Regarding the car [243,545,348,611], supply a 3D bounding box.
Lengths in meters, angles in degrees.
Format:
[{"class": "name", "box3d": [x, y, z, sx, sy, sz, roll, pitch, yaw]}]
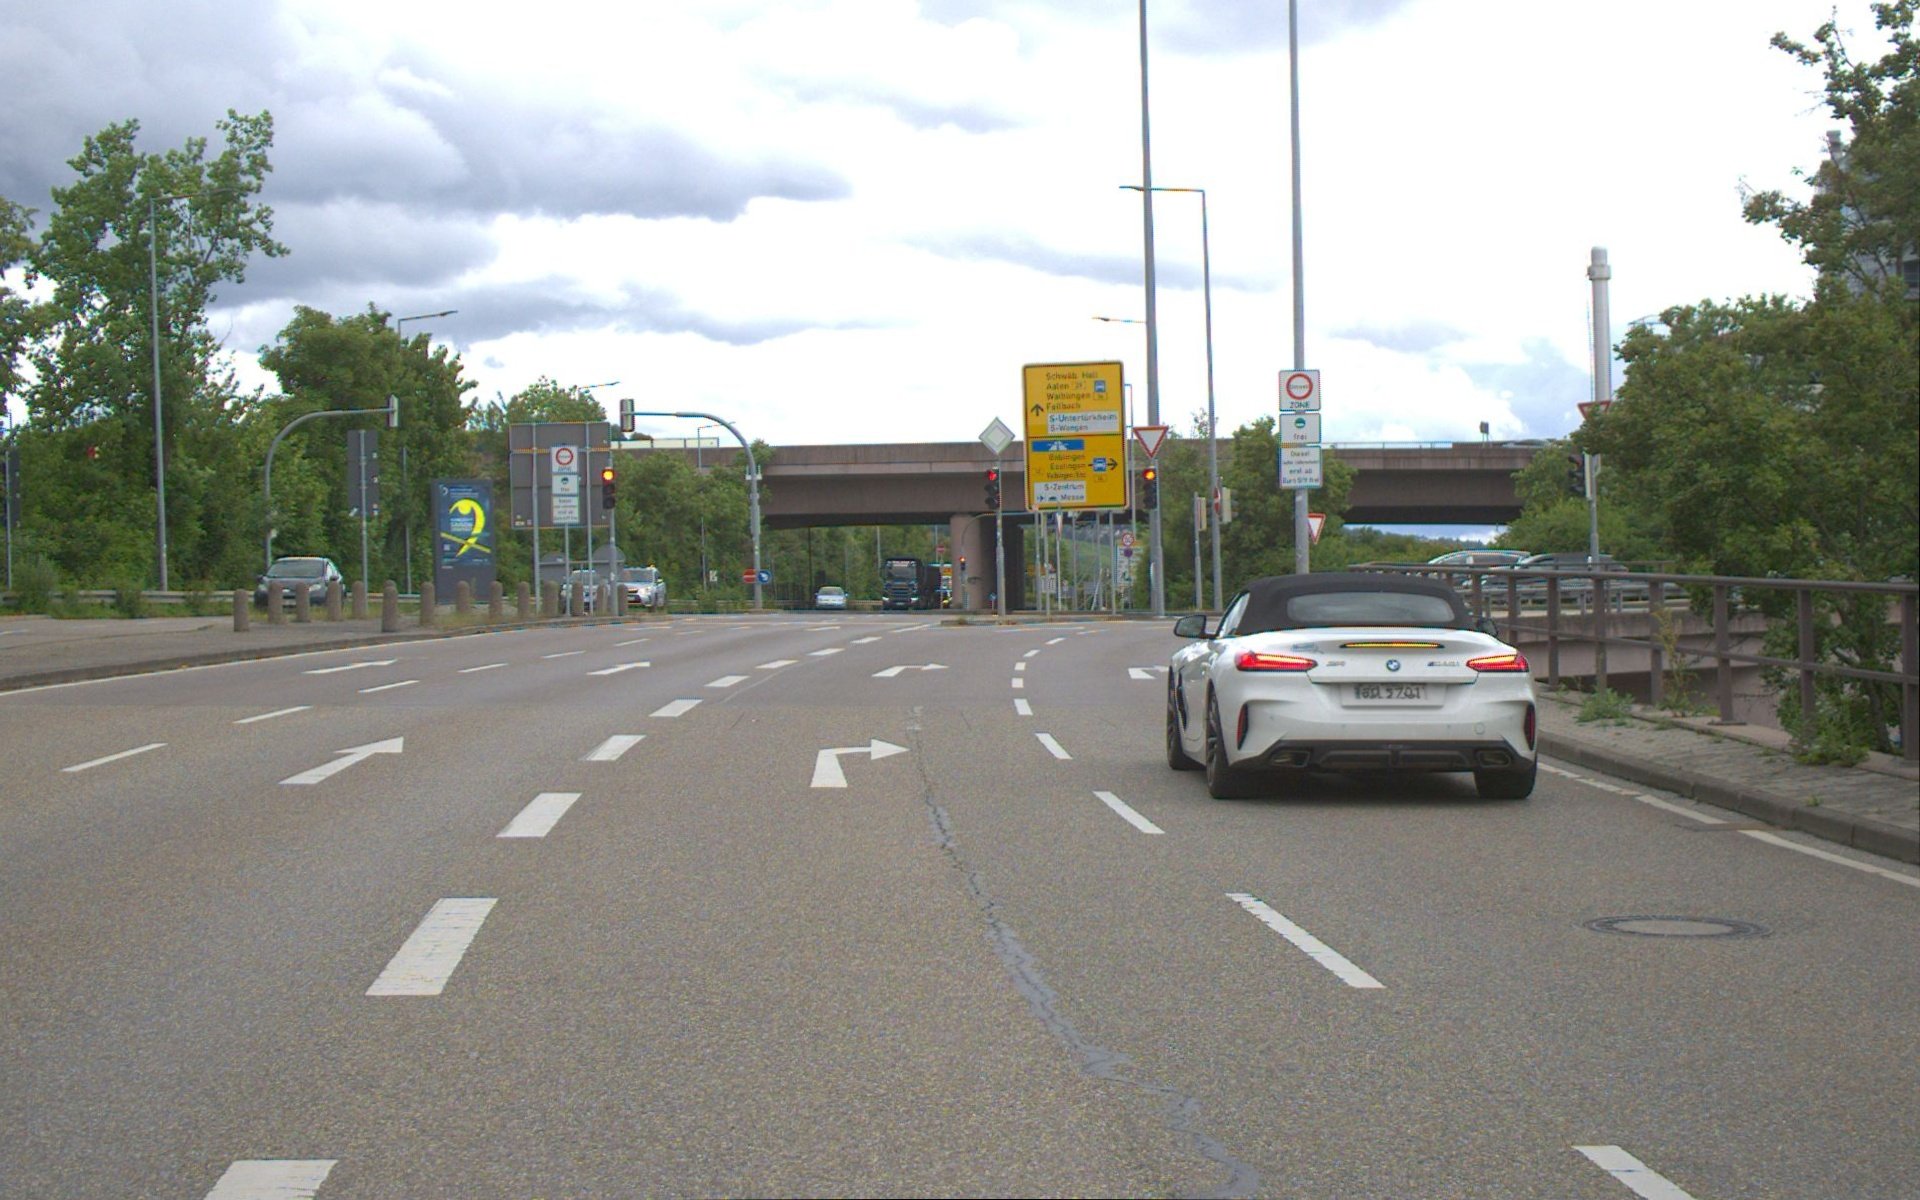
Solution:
[{"class": "car", "box3d": [-15.519, -0.525, 80.399, 1.760, 1.479, 3.484, 1, 1, 0]}]

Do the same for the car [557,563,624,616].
[{"class": "car", "box3d": [-12.013, -0.350, 111.841, 1.771, 1.639, 3.825, 1, 0, -1]}]

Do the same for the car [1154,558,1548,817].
[{"class": "car", "box3d": [2.265, 0.458, 20.879, 1.875, 1.304, 3.873, -1, 2, -1]}]

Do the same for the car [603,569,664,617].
[{"class": "car", "box3d": [-11.320, -0.246, 119.452, 1.771, 1.627, 3.825, 1, 0, -1]}]

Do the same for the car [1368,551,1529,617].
[{"class": "car", "box3d": [13.999, -0.441, 98.747, 4.372, 1.752, 2.000, -1, -1, 4]}]

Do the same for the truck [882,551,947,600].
[{"class": "truck", "box3d": [-2.976, -1.640, 230.583, 2.924, 3.135, 10.108, 1, 0, 7]}]

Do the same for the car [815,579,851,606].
[{"class": "car", "box3d": [-7.378, -0.444, 200.195, 1.741, 1.532, 3.671, 0, 1, 3]}]
